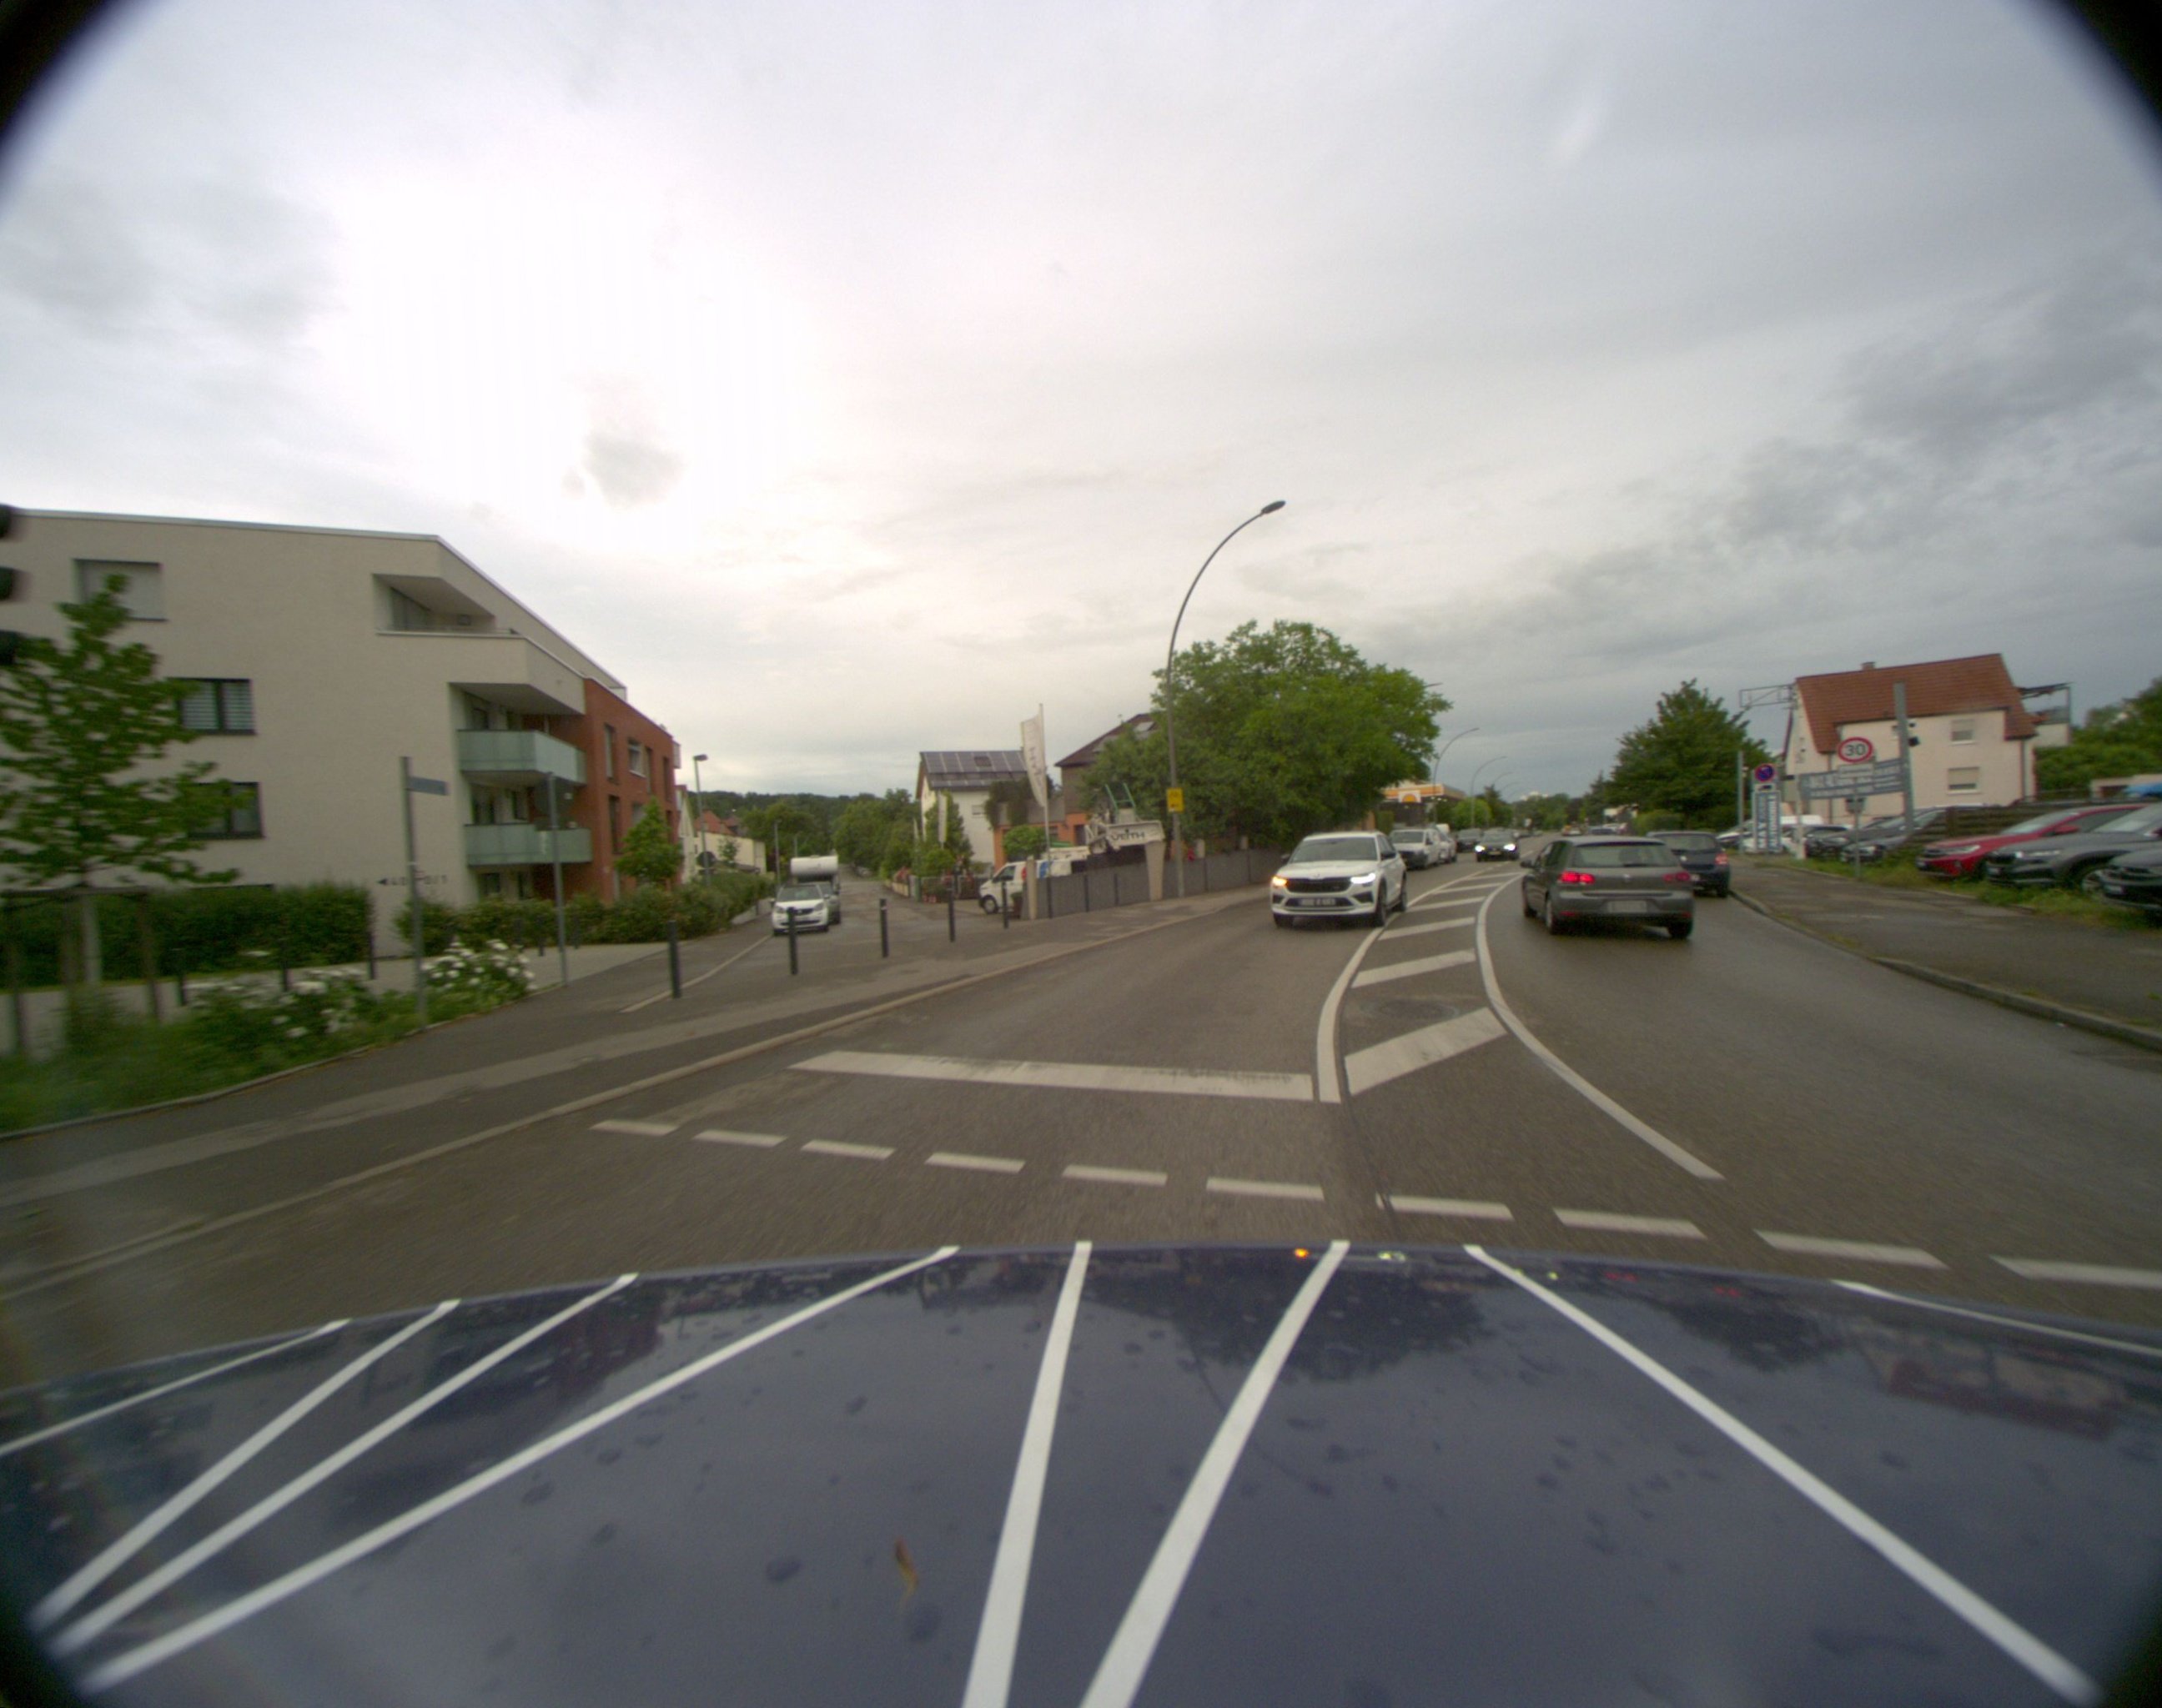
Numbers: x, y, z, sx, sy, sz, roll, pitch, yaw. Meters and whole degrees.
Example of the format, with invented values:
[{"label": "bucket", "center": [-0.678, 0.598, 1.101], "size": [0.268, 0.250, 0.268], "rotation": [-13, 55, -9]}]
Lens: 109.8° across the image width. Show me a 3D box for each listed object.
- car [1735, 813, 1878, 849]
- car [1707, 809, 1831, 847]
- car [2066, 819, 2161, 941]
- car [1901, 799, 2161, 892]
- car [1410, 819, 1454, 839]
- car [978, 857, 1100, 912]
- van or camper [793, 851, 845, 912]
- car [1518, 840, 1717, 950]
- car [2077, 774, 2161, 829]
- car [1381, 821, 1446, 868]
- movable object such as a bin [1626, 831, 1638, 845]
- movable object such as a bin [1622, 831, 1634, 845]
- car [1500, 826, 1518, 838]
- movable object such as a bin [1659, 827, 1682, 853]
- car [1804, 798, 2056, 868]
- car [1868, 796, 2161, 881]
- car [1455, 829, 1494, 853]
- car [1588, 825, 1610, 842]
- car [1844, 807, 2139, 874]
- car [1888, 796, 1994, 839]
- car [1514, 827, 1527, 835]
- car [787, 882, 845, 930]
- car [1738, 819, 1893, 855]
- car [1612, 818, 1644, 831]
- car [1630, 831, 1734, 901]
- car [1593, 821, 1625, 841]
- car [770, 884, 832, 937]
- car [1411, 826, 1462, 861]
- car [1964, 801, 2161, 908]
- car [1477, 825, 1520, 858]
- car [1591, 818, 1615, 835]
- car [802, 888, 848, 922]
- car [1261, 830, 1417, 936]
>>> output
[{"label": "car", "center": [32.608, -1.021, 34.343], "size": [4.379, 1.366, 1.892], "rotation": [-2, 1, 32]}, {"label": "car", "center": [36.571, -1.374, 40.549], "size": [4.560, 1.780, 1.901], "rotation": [-2, 1, 28]}, {"label": "car", "center": [14.994, 0.212, 8.800], "size": [3.989, 1.432, 1.807], "rotation": [-3, 0, 35]}, {"label": "car", "center": [18.311, -0.164, 14.014], "size": [3.989, 1.535, 1.807], "rotation": [-3, 0, 35]}, {"label": "car", "center": [46.799, -3.314, 101.350], "size": [4.797, 2.506, 2.249], "rotation": [-2, 1, 11]}, {"label": "car", "center": [-1.594, 1.166, 28.614], "size": [4.126, 1.859, 2.004], "rotation": [-4, 0, 34]}, {"label": "van or camper", "center": [-14.245, 1.458, 41.624], "size": [2.328, 2.977, 5.942], "rotation": [-3, -1, -17]}, {"label": "car", "center": [8.264, 0.570, 12.107], "size": [1.725, 1.447, 4.007], "rotation": [-1, -1, 22]}, {"label": "car", "center": [50.611, -2.514, 34.800], "size": [5.674, 2.361, 2.050], "rotation": [-3, 1, 32]}, {"label": "car", "center": [15.651, -0.459, 35.614], "size": [1.779, 2.017, 4.762], "rotation": [-3, -1, 35]}, {"label": "movable object such as a bin", "center": [37.226, -1.100, 51.342], "size": [0.540, 0.905, 0.425], "rotation": [-5, 0, 31]}, {"label": "movable object such as a bin", "center": [37.343, -1.125, 51.887], "size": [0.540, 0.905, 0.506], "rotation": [-5, 0, 31]}, {"label": "car", "center": [58.647, -3.049, 103.978], "size": [1.995, 1.587, 4.007], "rotation": [-1, 1, 31]}, {"label": "movable object such as a bin", "center": [26.745, -0.643, 34.467], "size": [0.708, 1.123, 0.736], "rotation": [-2, 1, 33]}, {"label": "car", "center": [23.777, -0.554, 21.580], "size": [4.350, 1.682, 2.062], "rotation": [-2, 1, 33]}, {"label": "car", "center": [21.231, -0.317, 17.232], "size": [4.350, 1.681, 1.962], "rotation": [-2, 1, 33]}, {"label": "car", "center": [30.053, -1.007, 57.980], "size": [2.092, 1.652, 4.567], "rotation": [-3, -1, 33]}, {"label": "car", "center": [48.921, -1.944, 71.814], "size": [1.609, 1.498, 3.713], "rotation": [0, 2, 32]}, {"label": "car", "center": [22.510, -0.315, 19.102], "size": [4.350, 1.423, 1.962], "rotation": [-2, 1, 33]}, {"label": "car", "center": [42.683, -1.793, 37.895], "size": [1.995, 1.920, 5.062], "rotation": [-1, 1, 30]}, {"label": "car", "center": [77.535, -4.029, 134.051], "size": [1.752, 1.410, 4.117], "rotation": [-1, 1, 32]}, {"label": "car", "center": [-10.169, 1.961, 29.439], "size": [1.854, 1.533, 4.122], "rotation": [-3, 0, -17]}, {"label": "car", "center": [30.931, -0.724, 32.196], "size": [4.454, 1.324, 1.774], "rotation": [-2, 1, 32]}, {"label": "car", "center": [89.366, -4.874, 124.164], "size": [3.991, 1.637, 2.003], "rotation": [-6, -2, 30]}, {"label": "car", "center": [14.015, 0.227, 17.892], "size": [1.627, 1.425, 3.690], "rotation": [-2, 1, 34]}, {"label": "car", "center": [39.270, -1.742, 56.564], "size": [1.807, 1.395, 3.951], "rotation": [0, 2, 32]}, {"label": "car", "center": [-9.067, 1.789, 24.776], "size": [1.729, 1.463, 2.739], "rotation": [-3, -1, -18]}, {"label": "car", "center": [19.067, -0.578, 40.663], "size": [1.867, 1.656, 4.327], "rotation": [-3, 1, 32]}, {"label": "car", "center": [16.678, -0.048, 11.482], "size": [3.989, 1.535, 1.807], "rotation": [-3, 0, 35]}, {"label": "car", "center": [21.432, -0.657, 38.965], "size": [1.774, 1.552, 4.007], "rotation": [-3, 0, 29]}, {"label": "car", "center": [45.195, -2.400, 65.790], "size": [1.546, 1.395, 3.603], "rotation": [0, 2, 32]}, {"label": "car", "center": [-11.638, 2.285, 34.737], "size": [1.780, 1.246, 4.122], "rotation": [-3, 0, -17]}, {"label": "car", "center": [5.057, 0.418, 14.389], "size": [1.880, 1.651, 4.839], "rotation": [-1, 1, 30]}]
